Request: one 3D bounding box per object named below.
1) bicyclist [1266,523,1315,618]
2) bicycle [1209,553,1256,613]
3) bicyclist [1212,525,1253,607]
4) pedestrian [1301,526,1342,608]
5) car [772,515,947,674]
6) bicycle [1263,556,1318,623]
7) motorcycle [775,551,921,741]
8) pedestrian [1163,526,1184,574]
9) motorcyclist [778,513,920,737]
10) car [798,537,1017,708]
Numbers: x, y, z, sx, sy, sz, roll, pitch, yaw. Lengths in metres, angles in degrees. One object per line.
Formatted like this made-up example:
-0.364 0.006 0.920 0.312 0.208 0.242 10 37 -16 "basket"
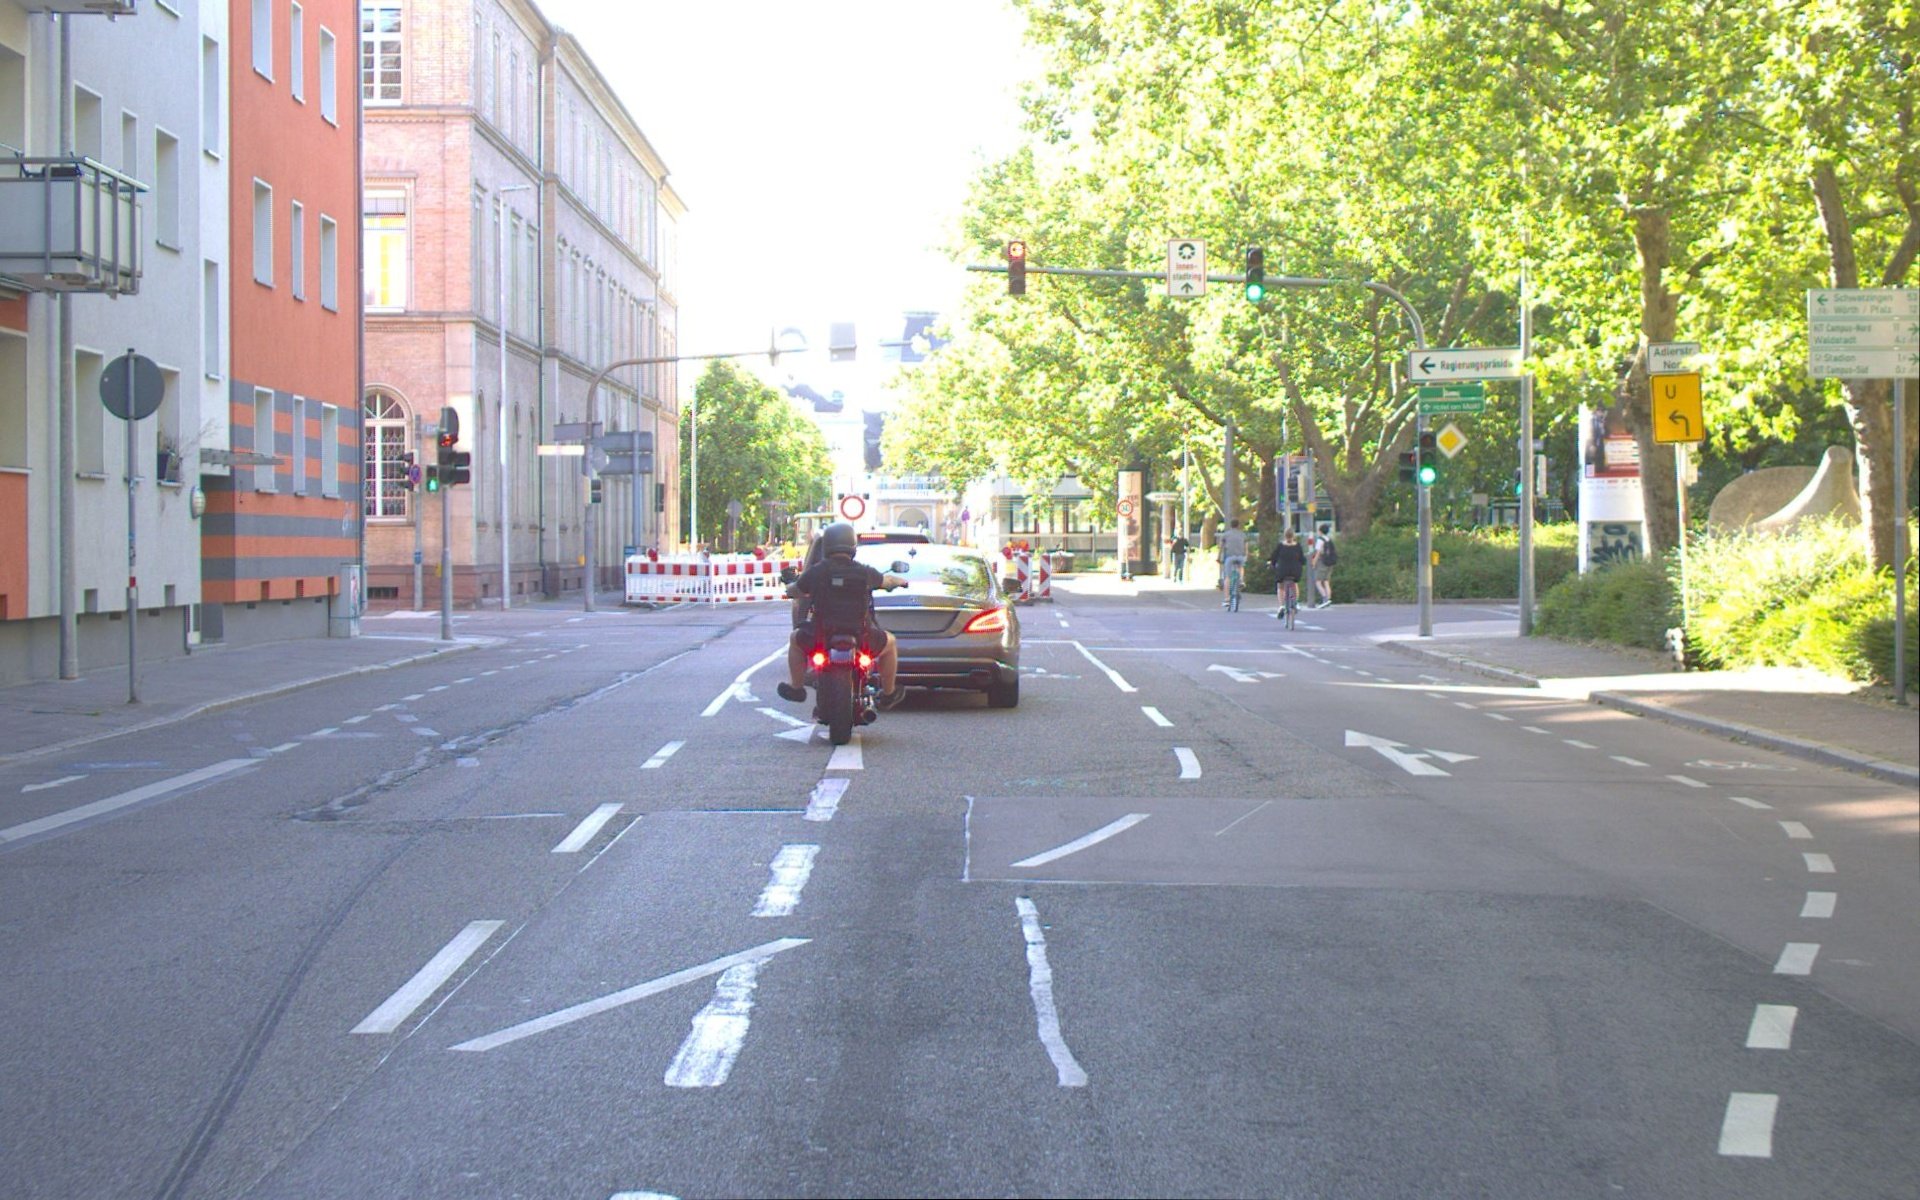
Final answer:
5.395 -0.488 56.163 0.656 1.525 0.852 2 0 -1 "bicyclist"
5.167 -0.326 65.272 0.656 1.107 2.186 2 1 -1 "bicycle"
5.172 -0.649 65.295 0.656 1.525 0.906 2 0 -1 "bicyclist"
7.907 -0.719 75.156 0.625 1.768 0.571 2 1 41 "pedestrian"
-1.169 -0.079 38.372 1.630 1.645 3.851 1 1 -6 "car"
5.387 -0.180 56.125 0.656 1.066 1.927 2 1 -1 "bicycle"
-0.796 0.301 25.227 1.012 1.302 2.673 0 1 -1 "motorcycle"
7.074 -1.647 113.887 0.592 1.573 0.527 2 0 0 "pedestrian"
-0.803 0.166 25.281 1.012 1.596 1.406 0 1 -1 "motorcyclist"
-0.468 0.158 30.802 1.828 1.415 3.815 1 1 -1 "car"
